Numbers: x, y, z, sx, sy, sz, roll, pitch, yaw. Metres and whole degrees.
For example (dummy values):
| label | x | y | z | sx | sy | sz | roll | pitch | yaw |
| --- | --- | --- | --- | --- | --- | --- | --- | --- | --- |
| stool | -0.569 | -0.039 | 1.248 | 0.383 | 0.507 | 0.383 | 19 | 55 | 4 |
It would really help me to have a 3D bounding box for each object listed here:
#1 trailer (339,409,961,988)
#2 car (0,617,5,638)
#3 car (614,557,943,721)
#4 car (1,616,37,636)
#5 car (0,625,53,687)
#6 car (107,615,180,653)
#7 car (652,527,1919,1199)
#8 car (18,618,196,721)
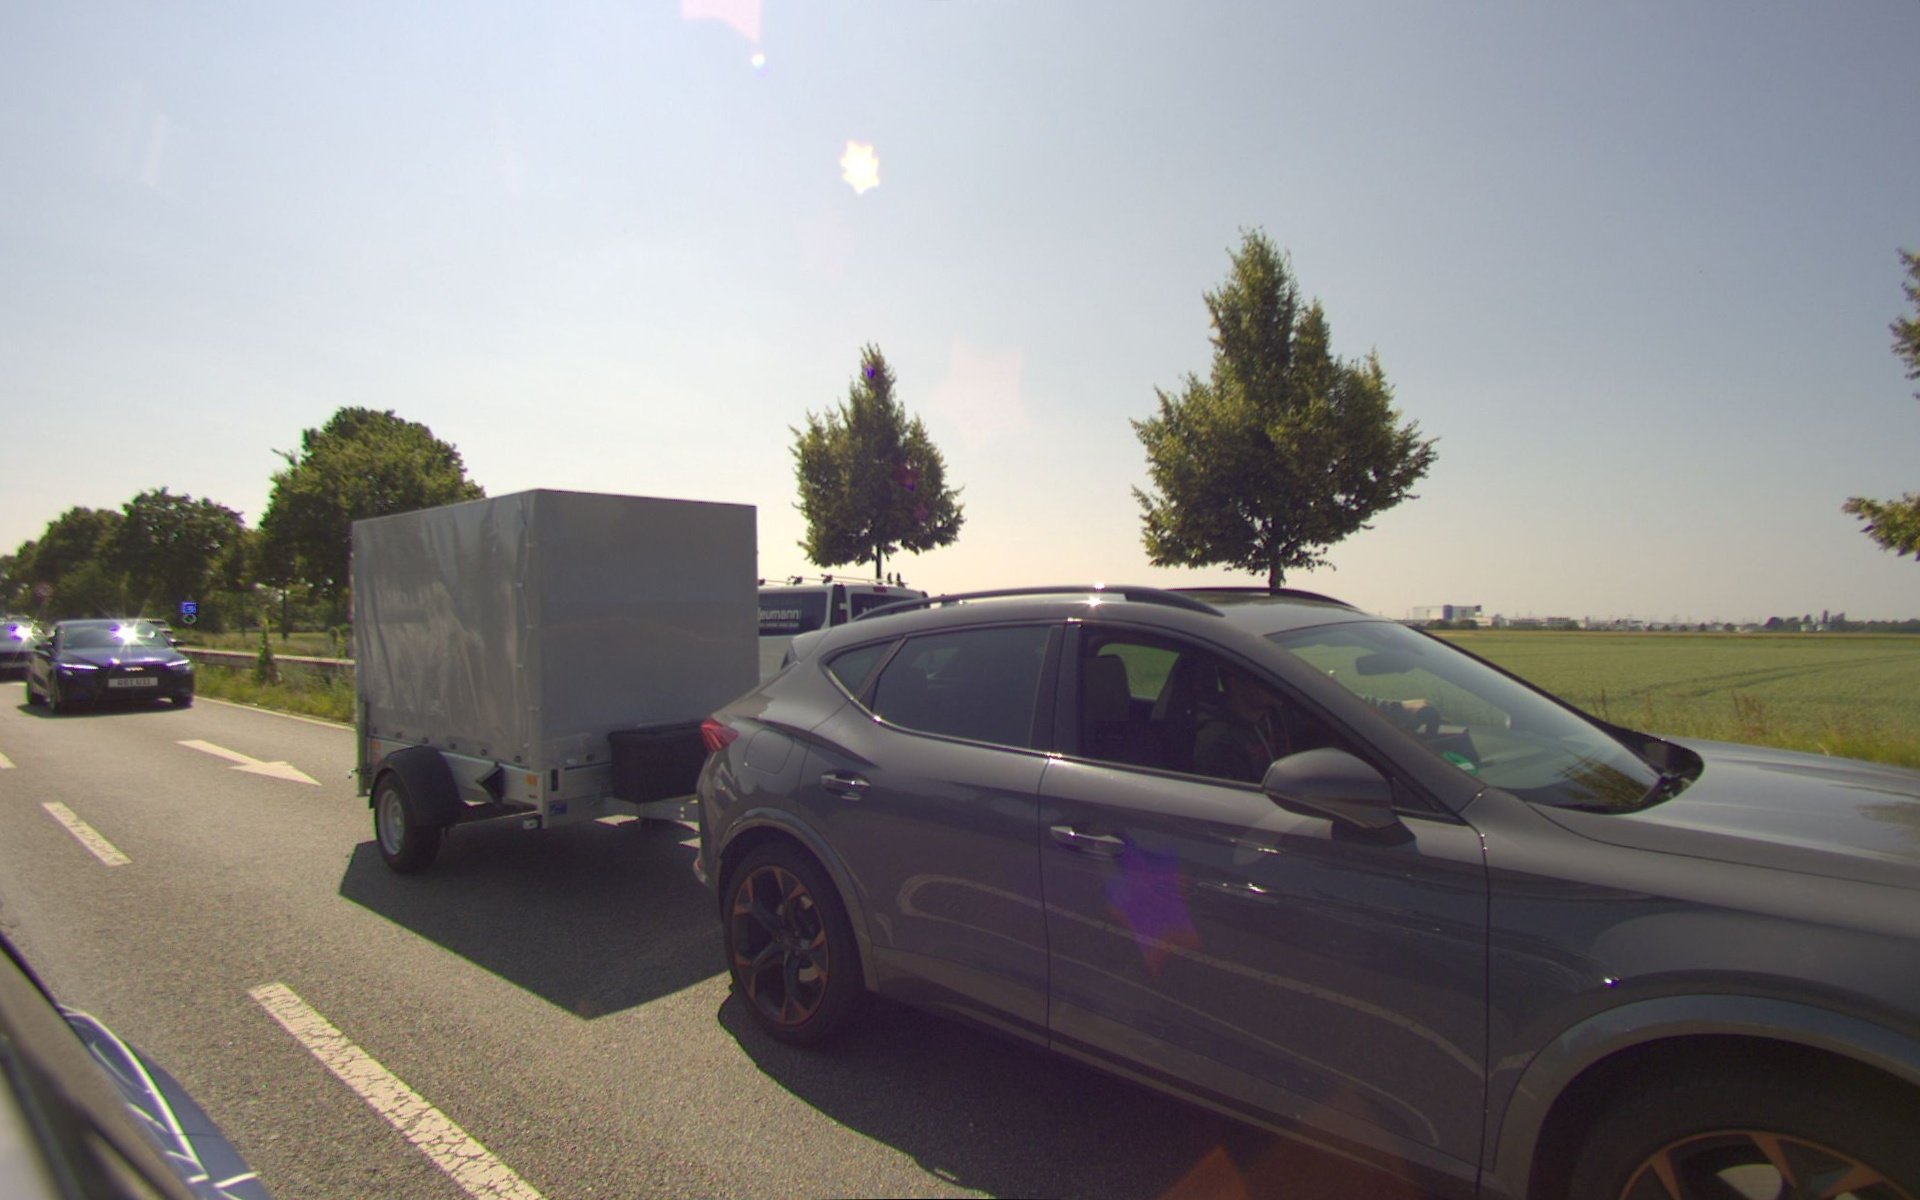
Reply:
| label | x | y | z | sx | sy | sz | roll | pitch | yaw |
| --- | --- | --- | --- | --- | --- | --- | --- | --- | --- |
| trailer | -2.042 | 0.406 | 5.796 | 4.173 | 2.190 | 1.484 | -1 | -1 | 42 |
| car | -77.060 | 2.200 | 80.182 | 4.136 | 1.651 | 1.726 | -2 | -2 | 43 |
| car | -2.764 | 0.539 | 14.647 | 5.012 | 1.995 | 1.973 | -1 | -2 | 40 |
| car | -92.554 | 2.547 | 99.544 | 5.012 | 1.945 | 1.973 | -1 | -2 | 40 |
| car | -23.511 | 1.318 | 24.580 | 4.454 | 1.391 | 1.722 | -1 | 0 | 42 |
| car | -35.956 | 1.489 | 44.554 | 4.132 | 1.630 | 1.728 | -2 | -2 | 40 |
| car | 1.038 | 0.669 | 2.967 | 4.362 | 1.514 | 1.727 | -1 | -1 | 42 |
| car | -14.223 | 1.063 | 16.796 | 4.028 | 1.476 | 1.699 | -1 | -1 | 42 |
